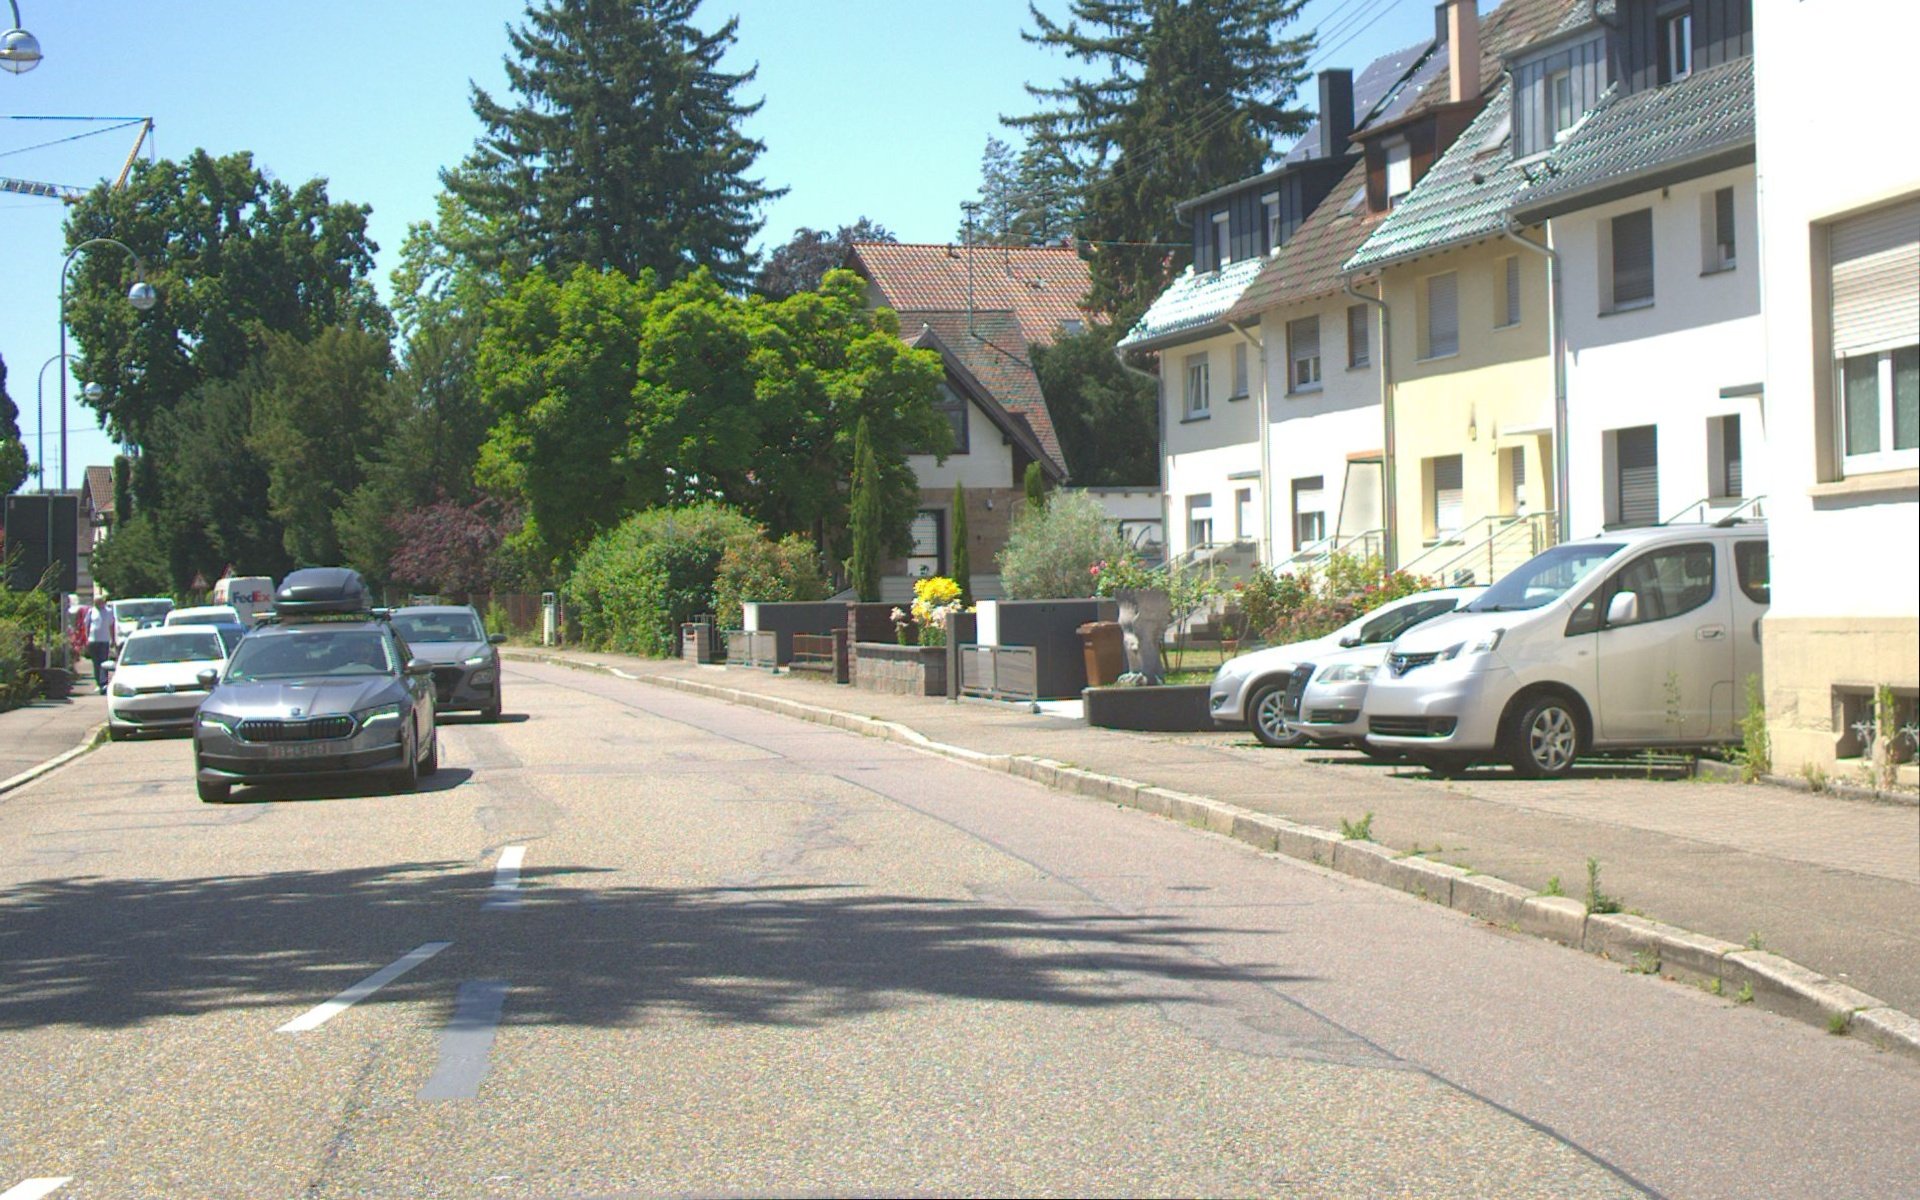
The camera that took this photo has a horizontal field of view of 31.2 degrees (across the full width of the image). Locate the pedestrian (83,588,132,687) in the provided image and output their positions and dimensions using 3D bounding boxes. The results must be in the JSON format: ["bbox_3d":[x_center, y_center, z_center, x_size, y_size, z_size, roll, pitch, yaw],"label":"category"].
[{"bbox_3d":[-16.613,0.735,67.042,0.689,1.883,1.019,3,-1,-7],"label":"pedestrian"}]

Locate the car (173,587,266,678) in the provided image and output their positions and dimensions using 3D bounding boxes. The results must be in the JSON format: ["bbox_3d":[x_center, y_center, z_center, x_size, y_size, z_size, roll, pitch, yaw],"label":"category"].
[{"bbox_3d":[-15.293,0.653,70.970,1.722,1.730,3.888,-4,1,-12],"label":"car"}]

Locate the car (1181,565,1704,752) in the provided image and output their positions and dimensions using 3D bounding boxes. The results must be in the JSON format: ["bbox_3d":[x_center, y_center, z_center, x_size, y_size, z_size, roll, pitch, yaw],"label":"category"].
[{"bbox_3d":[4.314,0.509,30.750,4.296,1.542,1.754,1,-1,24],"label":"car"}]

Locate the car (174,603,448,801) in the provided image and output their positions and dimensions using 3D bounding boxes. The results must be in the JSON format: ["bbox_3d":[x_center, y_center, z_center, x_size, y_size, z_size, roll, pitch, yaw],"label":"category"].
[{"bbox_3d":[-5.525,0.820,29.740,1.806,1.483,4.387,-3,0,-5],"label":"car"}]

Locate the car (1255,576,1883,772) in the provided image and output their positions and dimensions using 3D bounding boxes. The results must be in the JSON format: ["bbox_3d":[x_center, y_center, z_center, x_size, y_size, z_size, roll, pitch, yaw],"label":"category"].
[{"bbox_3d":[4.868,0.582,27.767,4.639,1.404,1.769,2,0,-7],"label":"car"}]

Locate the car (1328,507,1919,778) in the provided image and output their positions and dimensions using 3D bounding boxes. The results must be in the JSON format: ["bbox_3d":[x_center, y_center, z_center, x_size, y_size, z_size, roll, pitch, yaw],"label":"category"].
[{"bbox_3d":[5.055,0.322,25.246,4.289,1.825,1.740,2,0,-16],"label":"car"}]

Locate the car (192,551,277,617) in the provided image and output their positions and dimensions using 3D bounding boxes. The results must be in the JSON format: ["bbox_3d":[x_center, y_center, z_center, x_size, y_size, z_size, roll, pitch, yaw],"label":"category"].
[{"bbox_3d":[-26.797,-0.591,126.873,2.143,2.307,4.854,-3,1,-22],"label":"car"}]

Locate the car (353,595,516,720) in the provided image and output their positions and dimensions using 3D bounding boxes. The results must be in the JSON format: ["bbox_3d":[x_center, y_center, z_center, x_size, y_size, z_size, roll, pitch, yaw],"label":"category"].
[{"bbox_3d":[-7.041,0.736,46.372,1.740,1.500,4.143,-3,0,-4],"label":"car"}]

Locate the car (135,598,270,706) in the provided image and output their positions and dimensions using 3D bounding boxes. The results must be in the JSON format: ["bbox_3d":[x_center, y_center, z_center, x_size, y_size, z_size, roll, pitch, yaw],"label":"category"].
[{"bbox_3d":[-11.468,0.753,52.251,1.768,1.434,4.363,-3,1,-10],"label":"car"}]

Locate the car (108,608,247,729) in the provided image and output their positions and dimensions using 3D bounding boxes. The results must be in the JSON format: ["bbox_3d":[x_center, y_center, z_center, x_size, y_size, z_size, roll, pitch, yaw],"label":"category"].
[{"bbox_3d":[-10.460,0.886,46.144,1.578,1.418,3.942,-4,1,-10],"label":"car"}]

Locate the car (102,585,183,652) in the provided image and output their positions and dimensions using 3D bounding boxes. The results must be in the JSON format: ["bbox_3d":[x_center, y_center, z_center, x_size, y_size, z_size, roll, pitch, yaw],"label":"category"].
[{"bbox_3d":[-24.339,0.522,102.244,1.886,1.875,4.982,-2,1,-18],"label":"car"}]
